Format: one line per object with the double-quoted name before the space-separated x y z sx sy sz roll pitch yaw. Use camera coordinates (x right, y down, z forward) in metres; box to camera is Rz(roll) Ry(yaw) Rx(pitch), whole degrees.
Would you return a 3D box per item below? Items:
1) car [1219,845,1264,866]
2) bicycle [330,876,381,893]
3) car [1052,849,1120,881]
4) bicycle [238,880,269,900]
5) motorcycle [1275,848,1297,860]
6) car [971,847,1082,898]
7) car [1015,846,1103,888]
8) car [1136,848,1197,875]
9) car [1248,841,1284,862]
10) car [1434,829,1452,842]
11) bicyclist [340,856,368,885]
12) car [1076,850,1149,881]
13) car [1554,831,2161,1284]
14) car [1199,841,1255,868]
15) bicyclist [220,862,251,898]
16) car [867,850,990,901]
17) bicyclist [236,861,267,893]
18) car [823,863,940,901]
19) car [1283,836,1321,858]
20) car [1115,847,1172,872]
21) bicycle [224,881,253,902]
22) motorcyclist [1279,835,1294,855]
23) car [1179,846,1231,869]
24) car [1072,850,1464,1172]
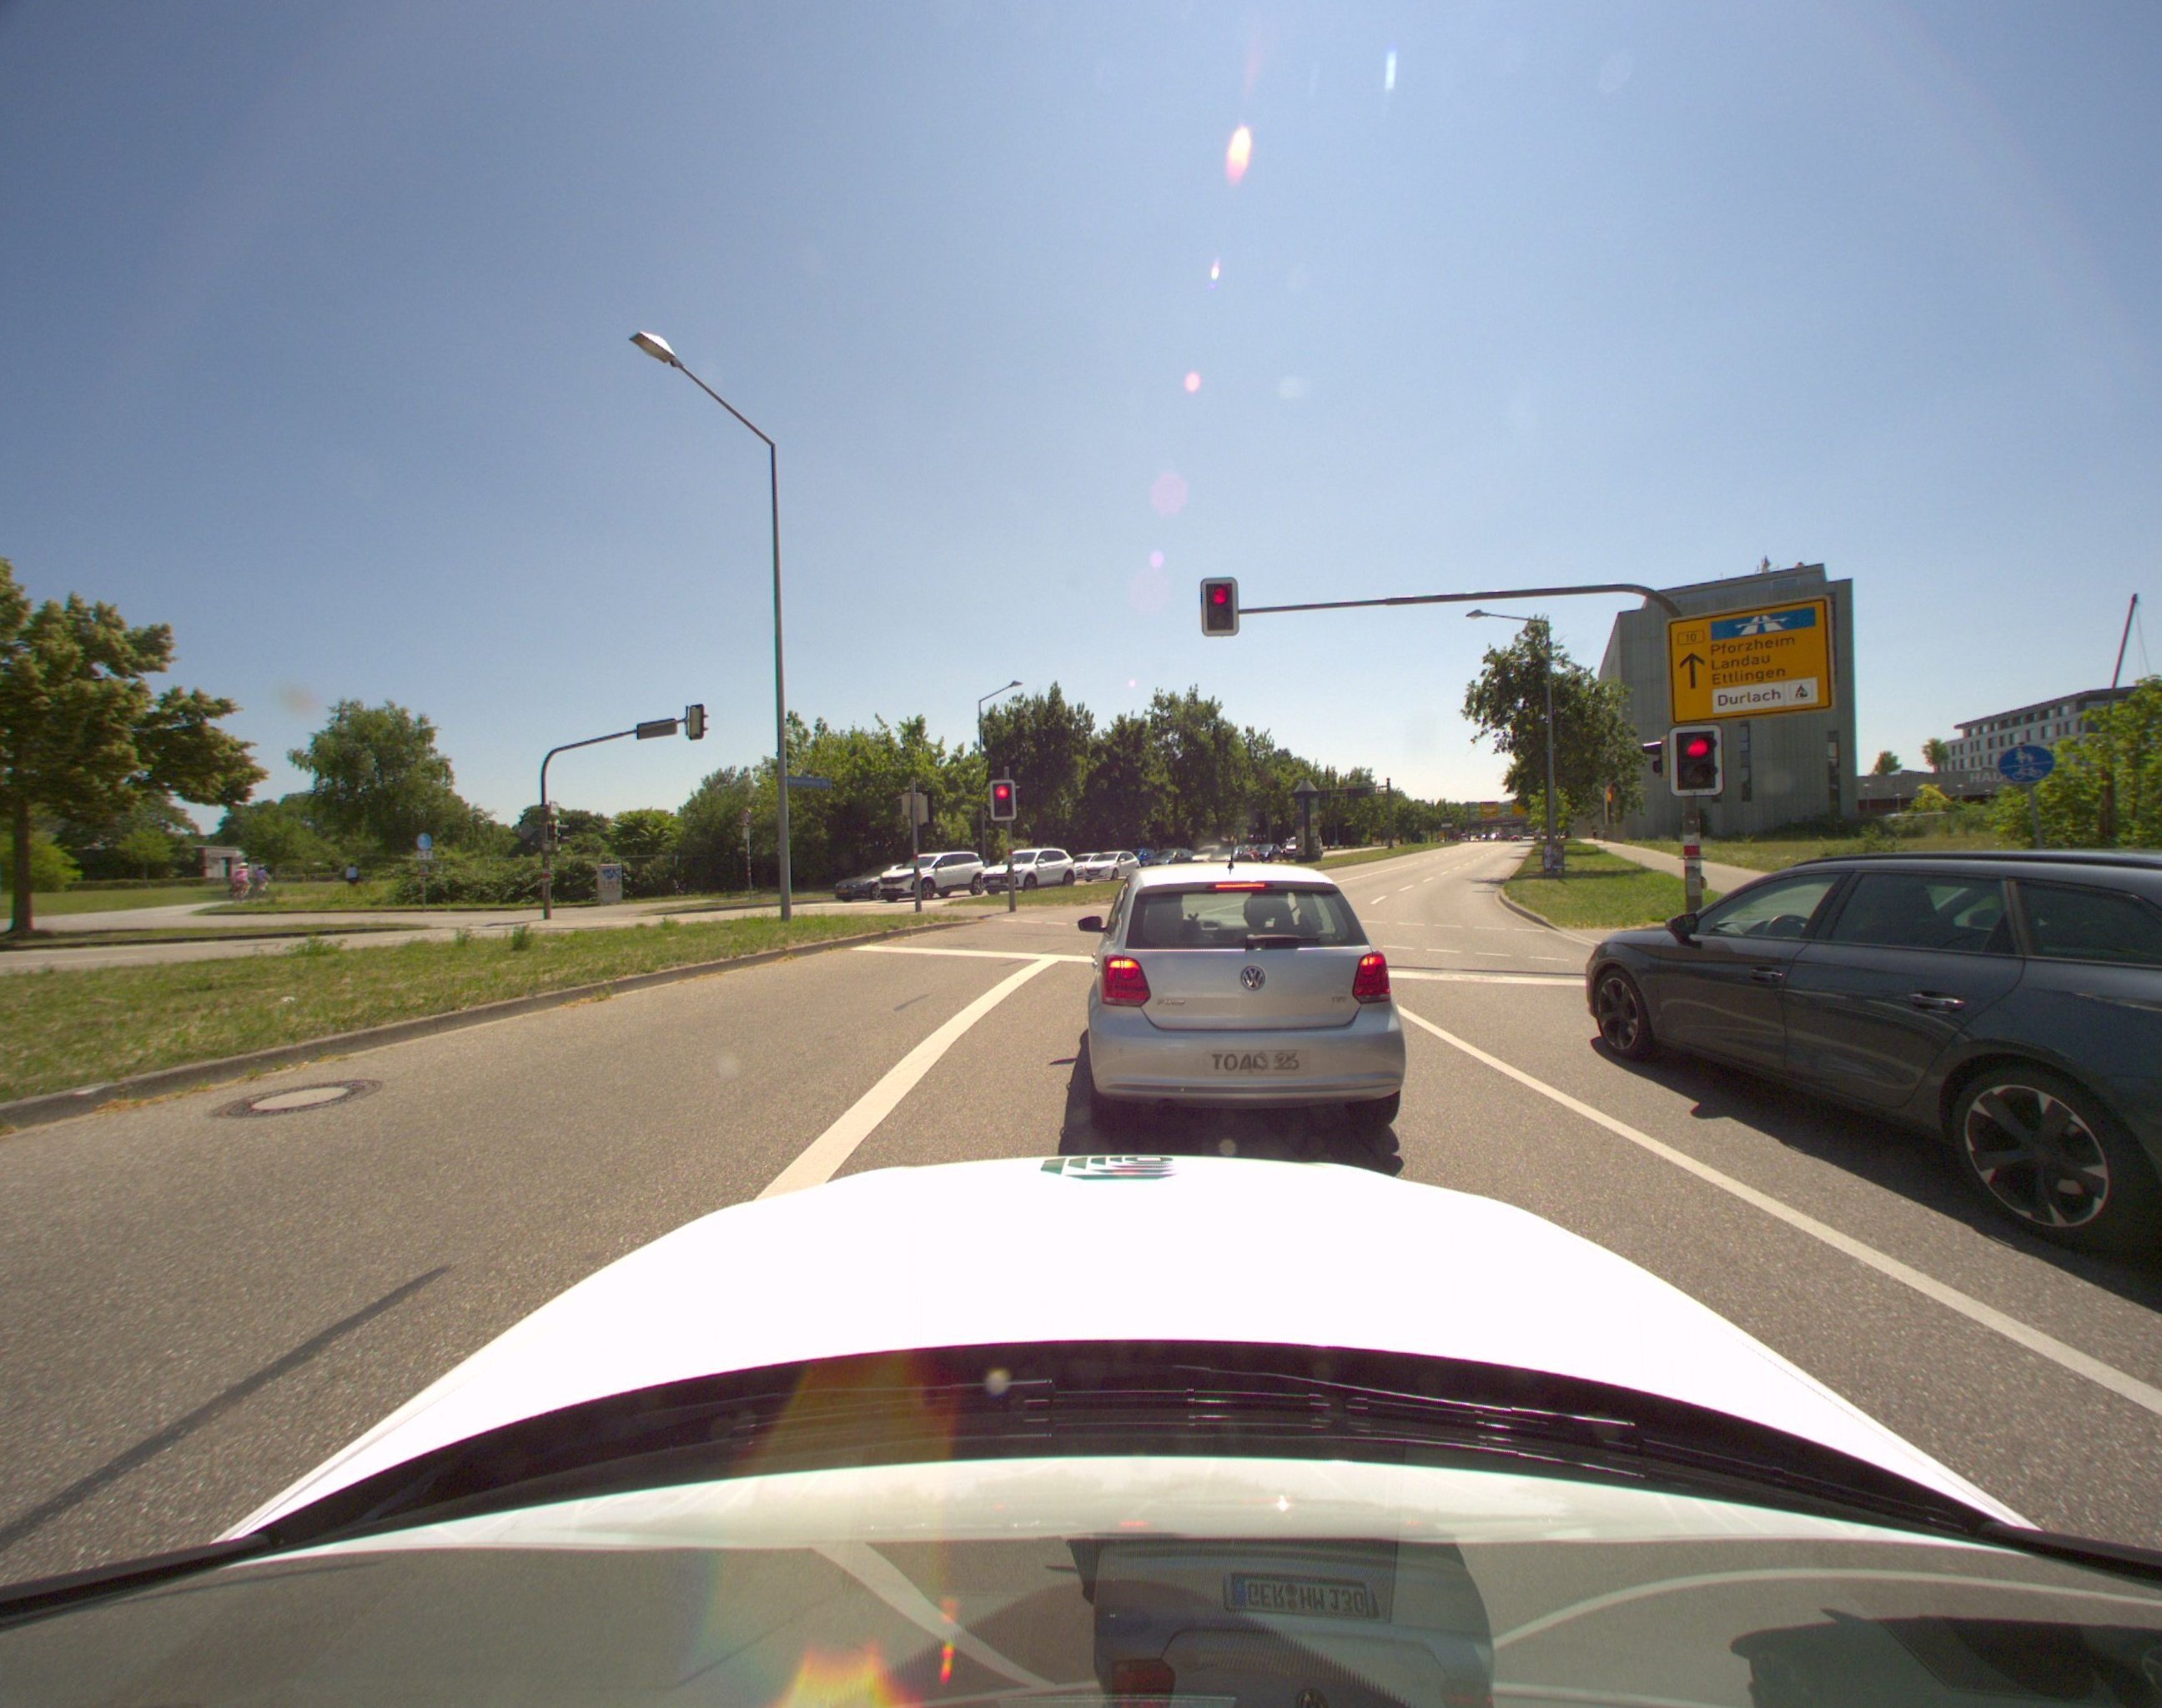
"car" 11.848 0.101 59.993 1.840 1.422 4.436 -2 0 31
"bicycle" -42.338 1.749 47.579 0.738 0.912 2.920 -3 -1 -9
"car" 0.362 0.589 46.316 1.840 1.683 4.436 -2 0 31
"bicycle" -41.417 1.772 40.778 0.903 0.900 1.742 0 0 -40
"motorcycle" 17.399 -0.037 68.954 0.886 0.952 2.834 -3 -1 33
"car" -1.925 0.624 30.093 1.840 1.683 4.436 -2 0 31
"car" -0.907 0.549 36.686 1.840 1.683 4.436 -2 0 31
"car" 5.094 0.401 47.810 1.840 1.422 4.436 -2 0 31
"car" 14.555 -0.205 63.944 1.699 1.475 3.821 -3 -1 29
"car" 52.079 -2.685 117.251 1.783 1.692 4.168 -3 -1 31
"bicyclist" -42.342 0.960 47.431 0.754 1.614 0.974 -2 -1 -11
"car" 1.709 0.565 42.112 1.840 1.422 4.436 -2 0 31
"car" 4.573 0.623 4.156 1.984 1.418 4.461 -2 1 5
"car" 8.659 -0.005 47.966 1.951 1.488 4.025 -1 0 30
"bicyclist" -38.905 1.199 37.484 1.171 1.610 0.966 -3 -1 44
"car" -5.379 0.708 29.298 1.840 1.618 4.436 -2 0 31
"bicyclist" -41.513 1.126 40.759 0.965 1.531 1.172 -2 1 -41
"car" -7.695 1.062 31.896 1.840 1.270 4.436 -2 0 31
"car" 16.820 -0.525 61.798 1.845 1.554 4.025 -1 0 29
"car" 4.024 0.349 51.961 1.840 1.422 4.436 -2 0 31
"bicycle" -38.980 1.736 37.689 2.198 0.900 0.904 -3 -2 44
"motorcyclist" 17.444 -0.749 69.093 0.897 1.586 1.016 -3 -1 32
"car" 8.219 0.207 53.719 1.840 1.422 4.436 -2 0 31
"car" 0.943 0.721 5.771 1.769 1.422 4.002 -2 1 2
